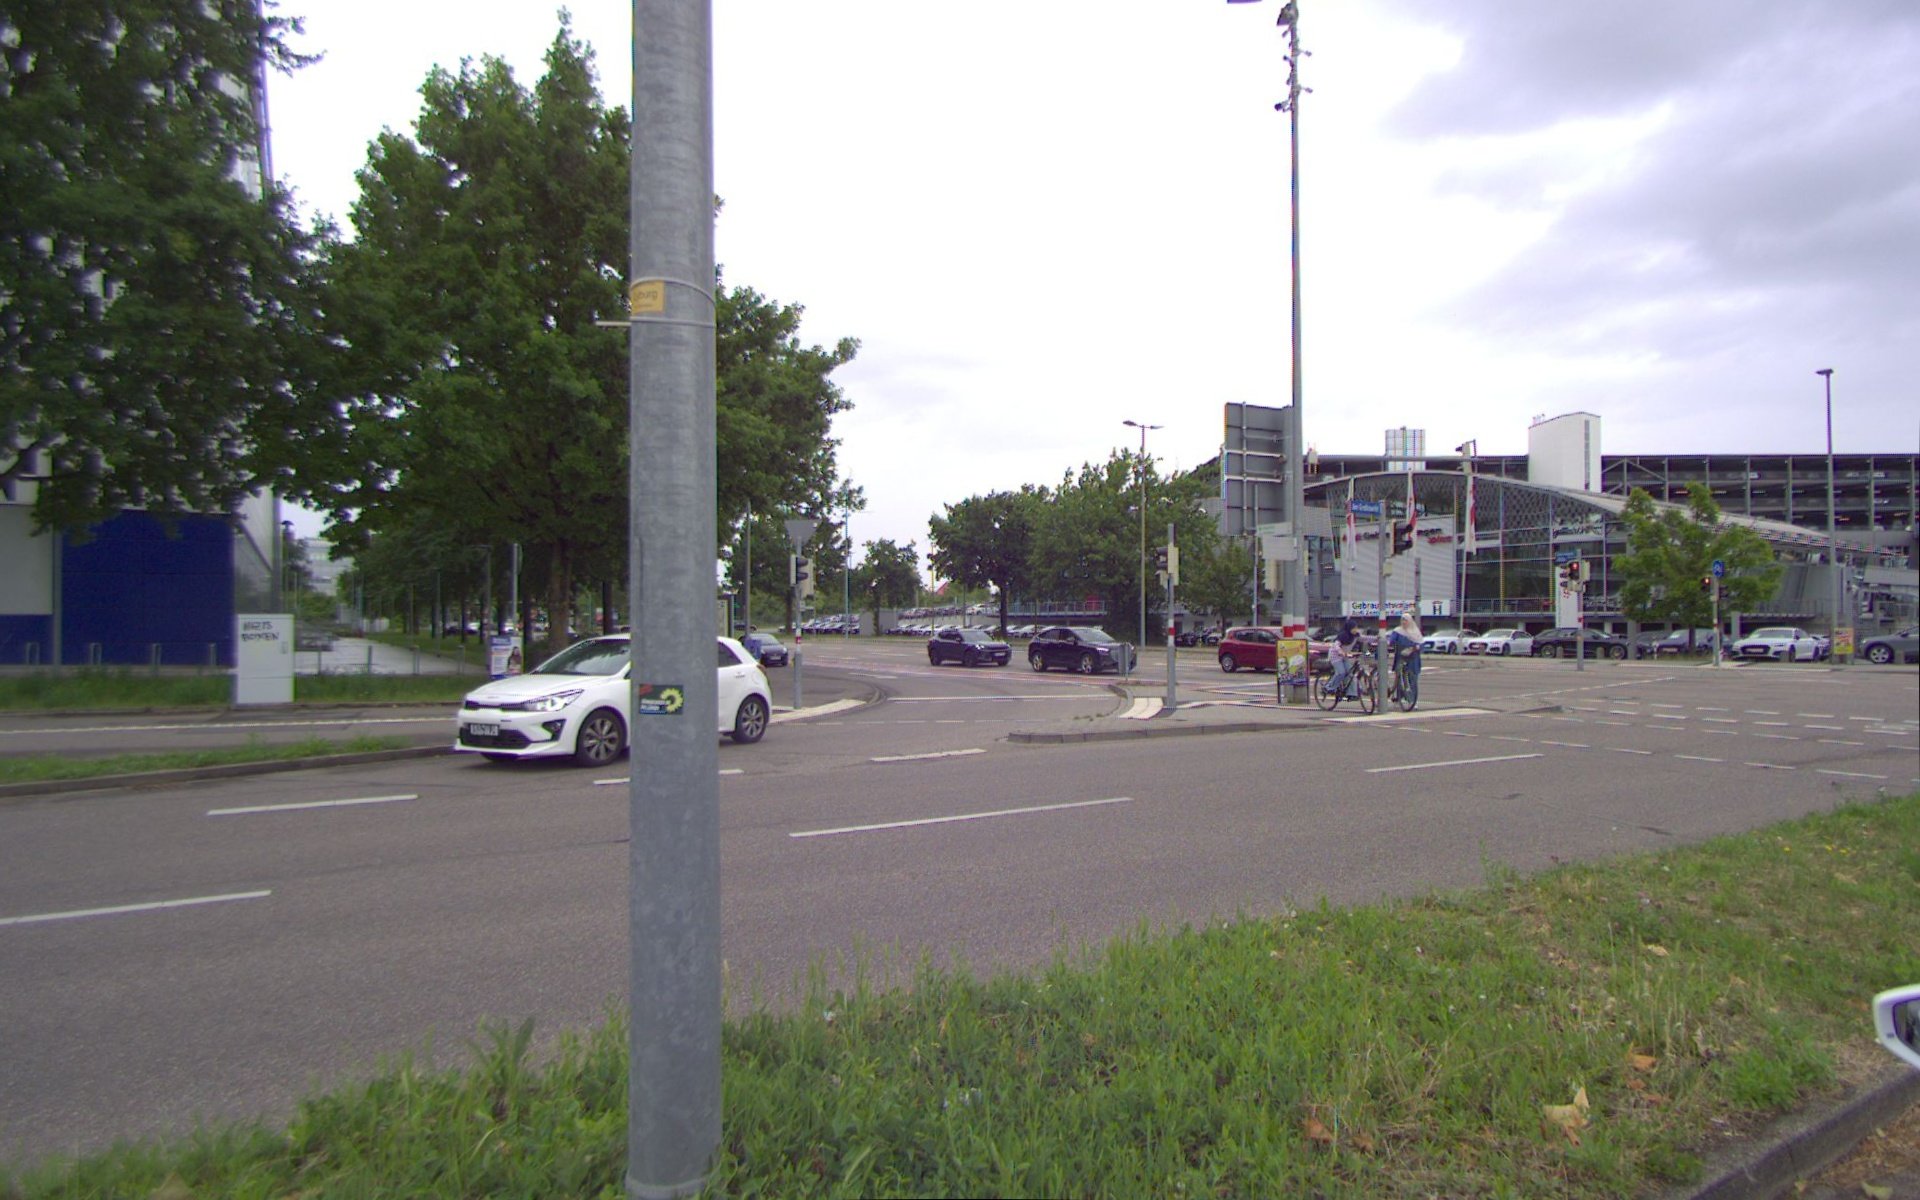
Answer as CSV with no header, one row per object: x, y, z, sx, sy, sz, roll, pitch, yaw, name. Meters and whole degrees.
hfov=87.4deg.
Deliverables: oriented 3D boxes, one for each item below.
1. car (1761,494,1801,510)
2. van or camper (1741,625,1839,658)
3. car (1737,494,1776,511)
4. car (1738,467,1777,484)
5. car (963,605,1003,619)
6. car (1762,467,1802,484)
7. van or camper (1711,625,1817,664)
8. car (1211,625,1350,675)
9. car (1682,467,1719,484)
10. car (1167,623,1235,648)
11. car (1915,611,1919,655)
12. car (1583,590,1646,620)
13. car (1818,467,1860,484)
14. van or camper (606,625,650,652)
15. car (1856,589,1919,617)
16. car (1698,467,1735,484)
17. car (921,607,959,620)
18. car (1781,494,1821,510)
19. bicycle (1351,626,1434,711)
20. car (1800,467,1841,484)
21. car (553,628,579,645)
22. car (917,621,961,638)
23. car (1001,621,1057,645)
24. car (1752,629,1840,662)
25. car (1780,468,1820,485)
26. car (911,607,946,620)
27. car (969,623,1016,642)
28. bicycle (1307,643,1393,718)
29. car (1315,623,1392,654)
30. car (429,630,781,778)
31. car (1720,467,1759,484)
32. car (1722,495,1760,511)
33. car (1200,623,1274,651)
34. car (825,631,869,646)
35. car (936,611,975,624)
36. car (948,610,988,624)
106.467,-12.718,130.265,1.960,1.689,4.001,1,0,2,car
47.655,2.356,57.714,1.828,1.734,3.963,2,0,-33,van or camper
103.680,-12.681,130.756,1.960,1.689,4.001,1,0,2,car
103.559,-16.161,130.450,1.960,1.689,4.001,1,0,2,car
2.652,1.370,116.198,4.306,1.516,1.863,2,0,-35,car
106.623,-16.091,130.296,1.960,1.689,4.001,1,0,2,car
41.931,2.282,52.459,1.828,1.840,3.963,2,0,-33,van or camper
10.227,1.604,32.272,1.724,1.507,4.039,2,-3,-35,car
96.316,-16.124,130.671,1.960,1.689,4.001,1,0,2,car
15.444,2.296,64.298,4.175,1.439,1.838,4,-3,-34,car
46.294,1.454,45.028,1.981,2.040,4.742,2,-4,-35,car
39.389,0.288,60.423,3.960,1.684,1.807,2,0,-35,car
113.704,-16.056,130.008,1.960,1.689,4.001,1,0,2,car
-23.137,2.720,69.889,1.977,1.744,4.359,0,-3,-31,van or camper
64.890,0.236,69.476,1.740,1.862,3.965,2,0,-32,car
98.534,-16.208,130.844,1.960,1.689,4.001,1,0,2,car
-2.439,1.620,122.418,4.306,1.516,1.863,2,0,-35,car
108.926,-12.710,130.154,1.960,1.689,4.001,1,0,2,car
7.606,1.206,17.762,0.585,1.414,1.935,-1,-3,0,bicycle
111.530,-16.130,130.222,1.960,1.689,4.001,1,0,2,car
-37.600,3.459,95.858,1.682,1.507,4.085,-1,-1,-31,car
-1.875,2.672,91.108,3.639,1.506,1.696,2,0,-34,car
5.569,2.645,80.736,4.168,1.505,1.940,7,-3,-34,car
53.317,2.882,64.105,1.742,1.862,3.960,2,0,-35,car
108.895,-16.022,130.288,1.960,1.689,4.001,1,0,2,car
-3.935,1.713,124.557,4.058,1.516,1.713,2,0,-35,car
2.709,2.755,84.419,3.639,1.506,1.696,2,0,-34,car
6.620,1.342,17.158,0.499,1.181,1.945,2,-3,-7,bicycle
21.613,2.099,55.114,4.148,1.505,1.891,4,-3,-34,car
-4.046,1.117,12.143,1.754,1.471,3.930,-1,-2,26,car
101.350,-16.227,130.636,1.960,1.689,4.001,1,0,2,car
101.472,-12.613,130.500,1.960,1.689,4.001,1,0,2,car
17.141,2.276,62.058,4.617,1.491,1.830,4,-2,-34,car
-12.449,4.223,111.003,4.413,1.592,1.981,0,-1,-34,car
-0.552,2.096,120.444,4.306,1.516,1.951,2,0,-35,car
0.943,1.971,118.546,4.306,1.516,2.049,2,0,-35,car
